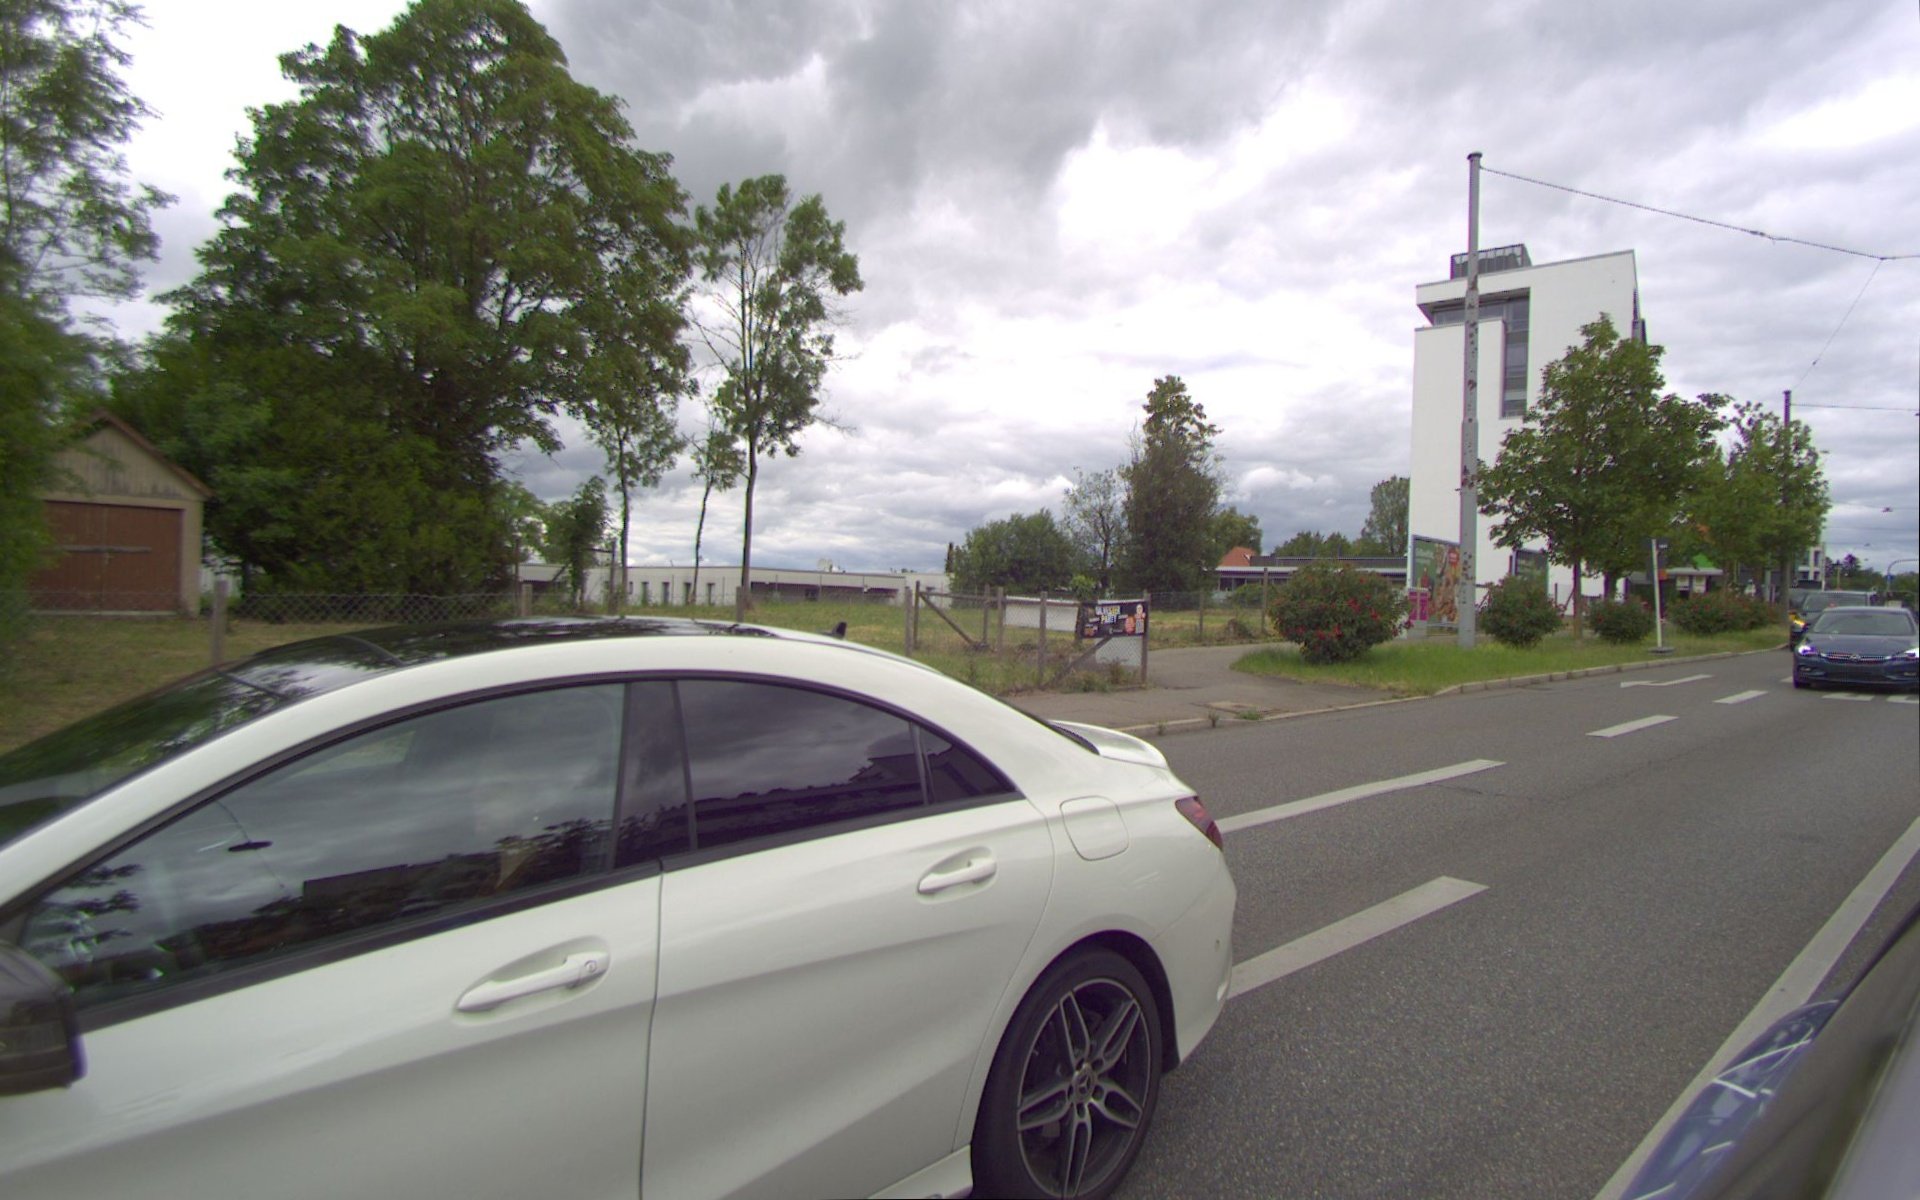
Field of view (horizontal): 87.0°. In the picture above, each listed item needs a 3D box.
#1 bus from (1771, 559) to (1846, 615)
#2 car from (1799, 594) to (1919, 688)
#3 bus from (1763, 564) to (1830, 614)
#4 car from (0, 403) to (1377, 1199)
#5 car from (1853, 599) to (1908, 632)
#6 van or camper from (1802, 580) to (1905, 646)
[{"bbox_3d":[53.254,-0.760,63.739,2.975,3.282,9.734,1,1,37],"label":"bus"},{"bbox_3d":[16.587,0.672,18.207,4.294,1.501,1.733,0,0,-42],"label":"car"},{"bbox_3d":[58.788,-0.693,71.287,3.028,3.276,9.214,2,1,36],"label":"bus"},{"bbox_3d":[-1.073,0.563,2.361,4.688,1.525,1.871,2,-2,-40],"label":"car"},{"bbox_3d":[45.096,0.732,49.659,1.728,1.501,4.307,0,0,39],"label":"car"},{"bbox_3d":[27.546,0.376,31.142,4.764,1.902,1.807,0,0,-41],"label":"van or camper"}]
